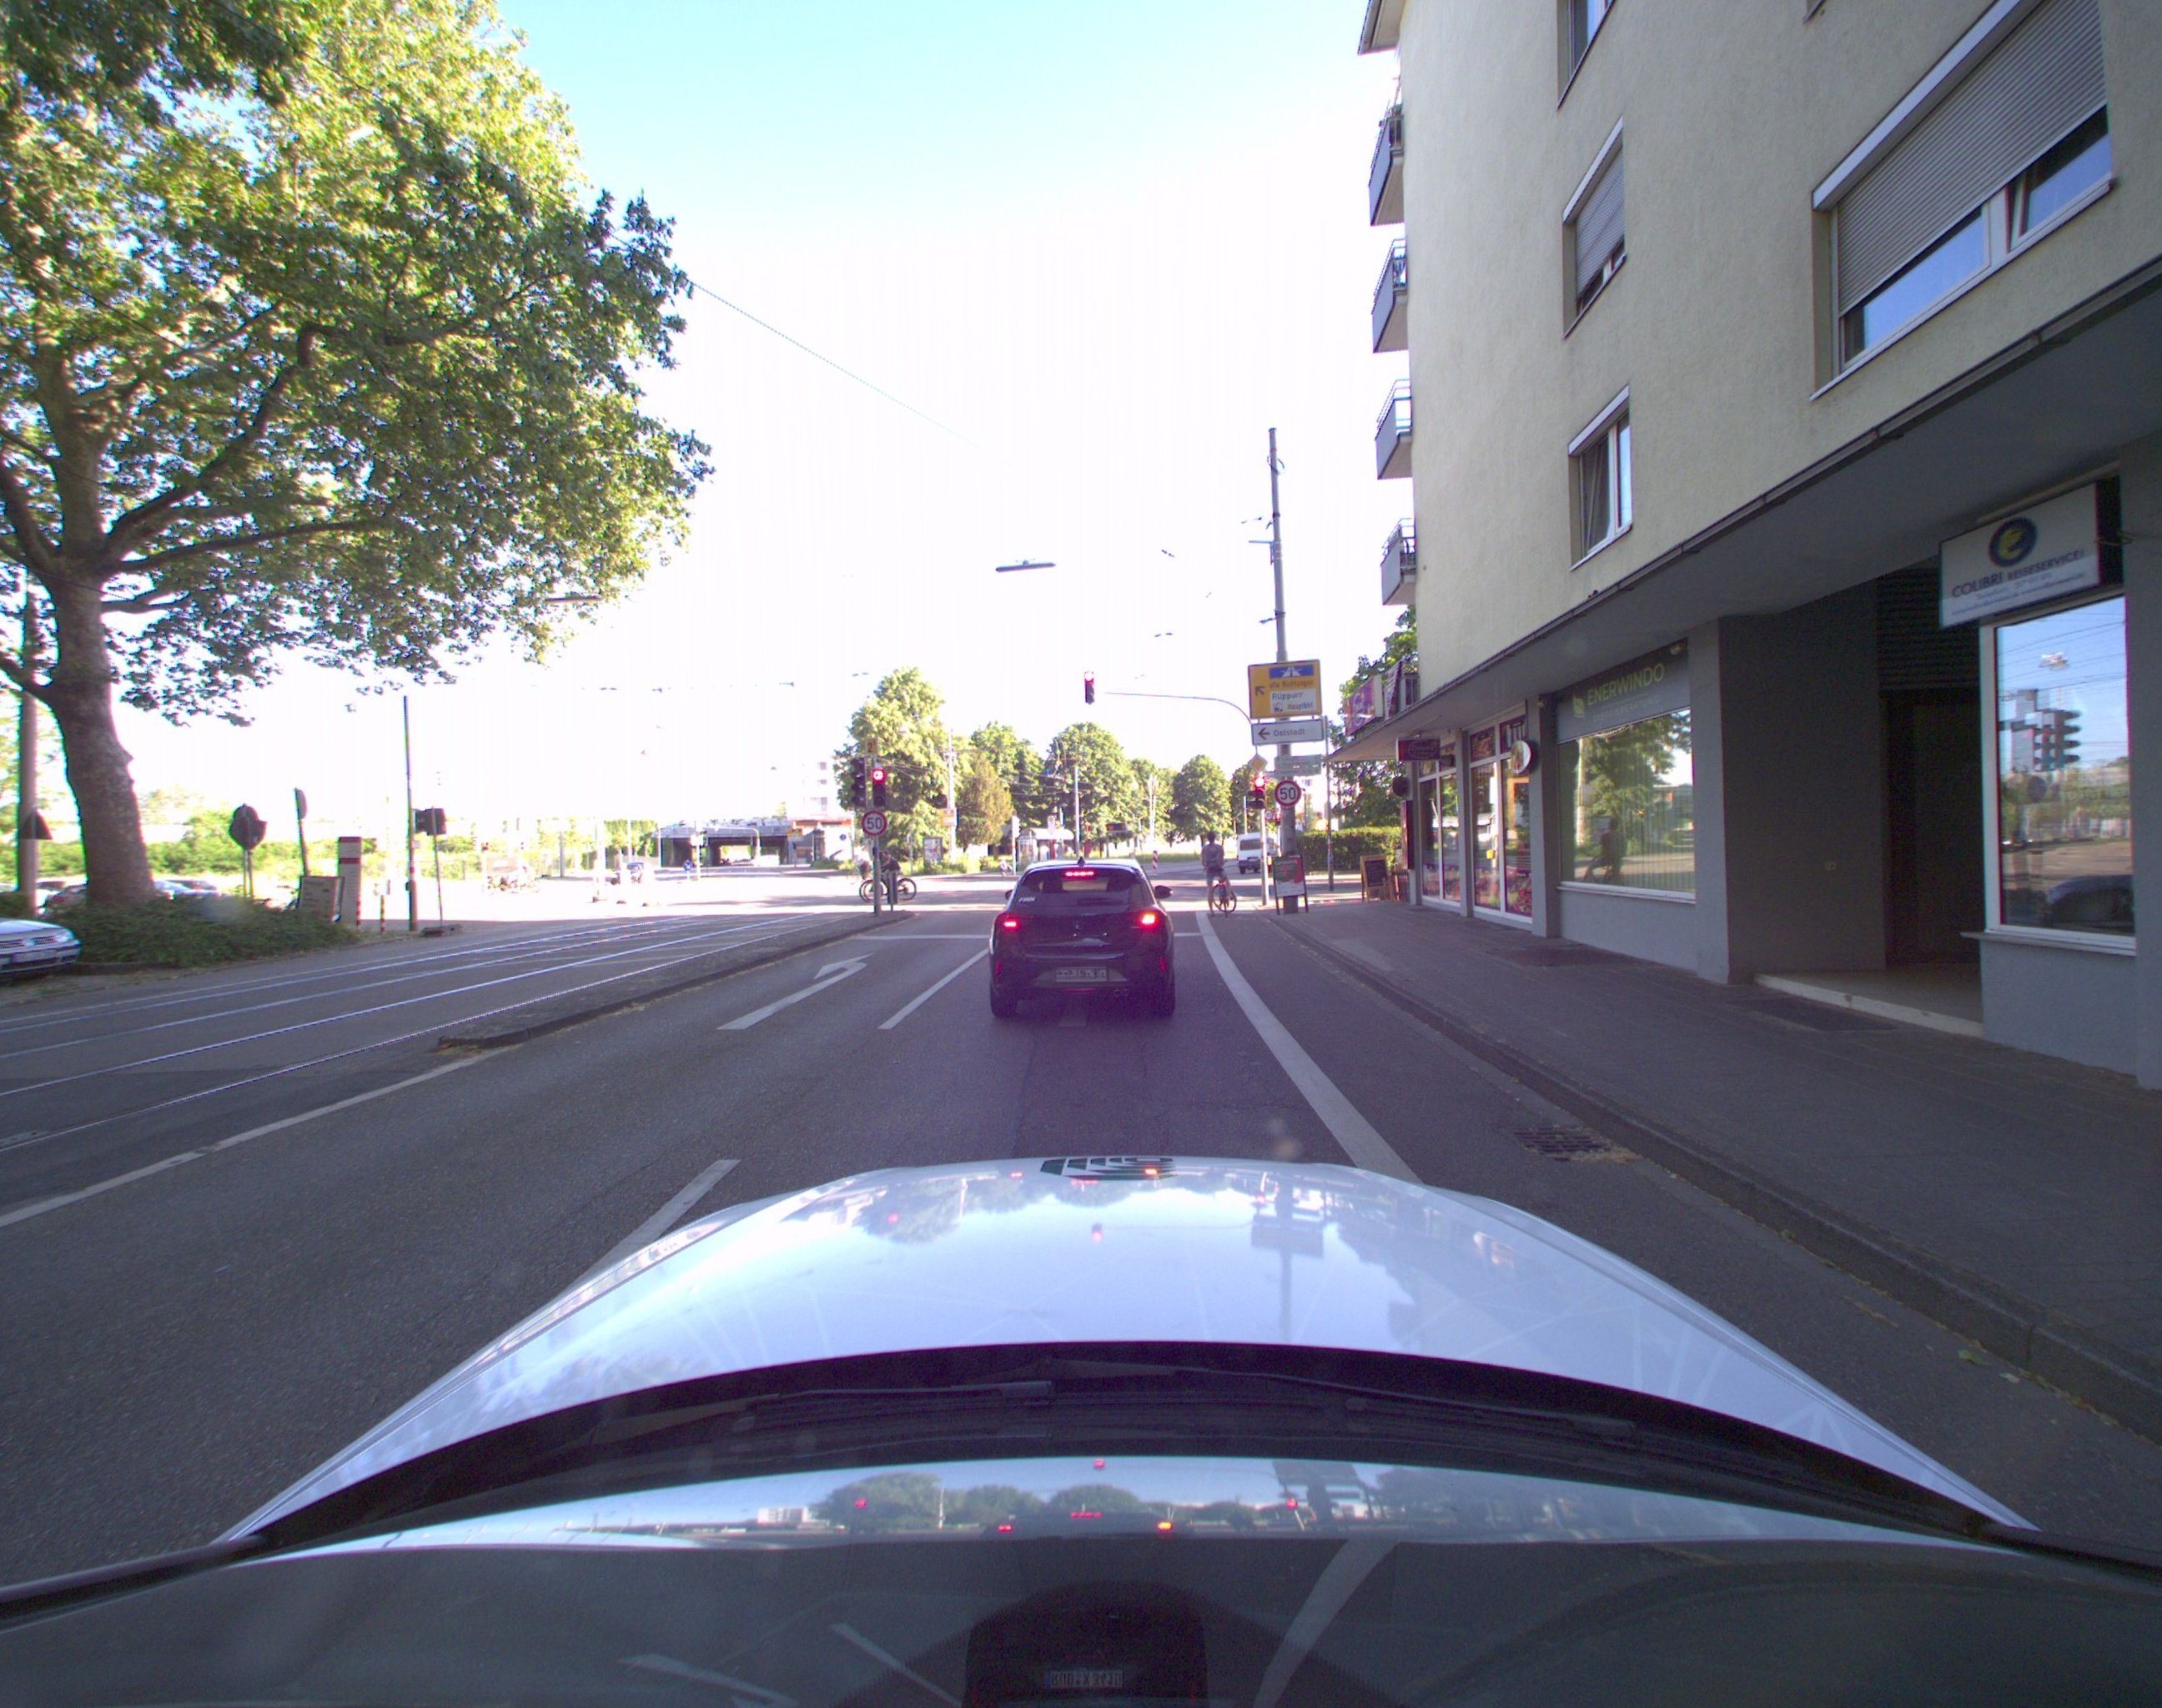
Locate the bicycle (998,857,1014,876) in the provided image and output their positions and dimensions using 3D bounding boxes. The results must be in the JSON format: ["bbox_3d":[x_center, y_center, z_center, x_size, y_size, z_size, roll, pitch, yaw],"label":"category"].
[{"bbox_3d":[-4.300,0.724,46.742,0.603,1.031,1.983,-2,0,2],"label":"bicycle"}]

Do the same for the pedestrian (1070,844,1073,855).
[{"bbox_3d":[-1.223,-0.537,106.724,0.411,1.412,0.436,0,-1,-1],"label":"pedestrian"}]

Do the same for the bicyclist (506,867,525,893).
[{"bbox_3d":[-35.102,1.604,50.561,0.634,1.563,0.831,-2,0,-7],"label":"bicyclist"}]

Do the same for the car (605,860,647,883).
[{"bbox_3d":[-31.281,1.160,56.109,1.830,1.519,3.870,0,0,-18],"label":"car"}]

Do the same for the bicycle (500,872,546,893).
[{"bbox_3d":[-28.038,1.447,40.919,2.044,0.984,0.675,-2,0,12],"label":"bicycle"}]

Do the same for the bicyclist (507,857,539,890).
[{"bbox_3d":[-28.014,0.974,40.898,1.003,1.570,0.802,-2,0,13],"label":"bicyclist"}]

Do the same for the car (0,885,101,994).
[{"bbox_3d":[-16.956,1.200,11.368,4.497,1.429,1.676,0,0,0],"label":"car"}]

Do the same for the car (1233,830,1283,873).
[{"bbox_3d":[10.151,-0.157,46.386,2.046,2.248,4.912,-2,0,20],"label":"car"}]

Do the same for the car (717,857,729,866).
[{"bbox_3d":[-73.750,1.521,167.769,2.223,1.823,4.114,-2,0,-24],"label":"car"}]

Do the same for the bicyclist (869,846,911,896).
[{"bbox_3d":[-6.027,0.531,25.678,1.117,1.520,0.915,-2,0,-21],"label":"bicyclist"}]

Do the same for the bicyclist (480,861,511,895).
[{"bbox_3d":[-30.903,1.256,42.991,0.921,1.707,0.878,-2,0,10],"label":"bicyclist"}]

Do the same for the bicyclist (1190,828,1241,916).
[{"bbox_3d":[2.953,0.387,17.962,0.938,1.851,0.864,-2,0,1],"label":"bicyclist"}]

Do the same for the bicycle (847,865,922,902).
[{"bbox_3d":[-6.179,0.912,25.639,2.199,1.033,0.828,-2,0,-21],"label":"bicycle"}]

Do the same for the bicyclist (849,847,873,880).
[{"bbox_3d":[-10.912,0.448,40.421,0.853,1.595,0.653,-2,0,23],"label":"bicyclist"}]

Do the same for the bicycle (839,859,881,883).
[{"bbox_3d":[-10.967,0.847,40.438,2.036,1.094,0.596,-2,0,23],"label":"bicycle"}]

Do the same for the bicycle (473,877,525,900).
[{"bbox_3d":[-30.678,1.814,42.911,2.279,1.084,0.803,-2,0,9],"label":"bicycle"}]

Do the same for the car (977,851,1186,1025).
[{"bbox_3d":[0.078,0.695,8.880,1.720,1.429,4.189,-1,0,2],"label":"car"}]

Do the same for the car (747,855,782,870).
[{"bbox_3d":[-44.402,1.183,114.145,1.714,1.805,4.215,-2,0,40],"label":"car"}]

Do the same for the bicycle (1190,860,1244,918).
[{"bbox_3d":[2.974,0.733,18.061,0.857,1.153,2.172,-2,0,1],"label":"bicycle"}]
